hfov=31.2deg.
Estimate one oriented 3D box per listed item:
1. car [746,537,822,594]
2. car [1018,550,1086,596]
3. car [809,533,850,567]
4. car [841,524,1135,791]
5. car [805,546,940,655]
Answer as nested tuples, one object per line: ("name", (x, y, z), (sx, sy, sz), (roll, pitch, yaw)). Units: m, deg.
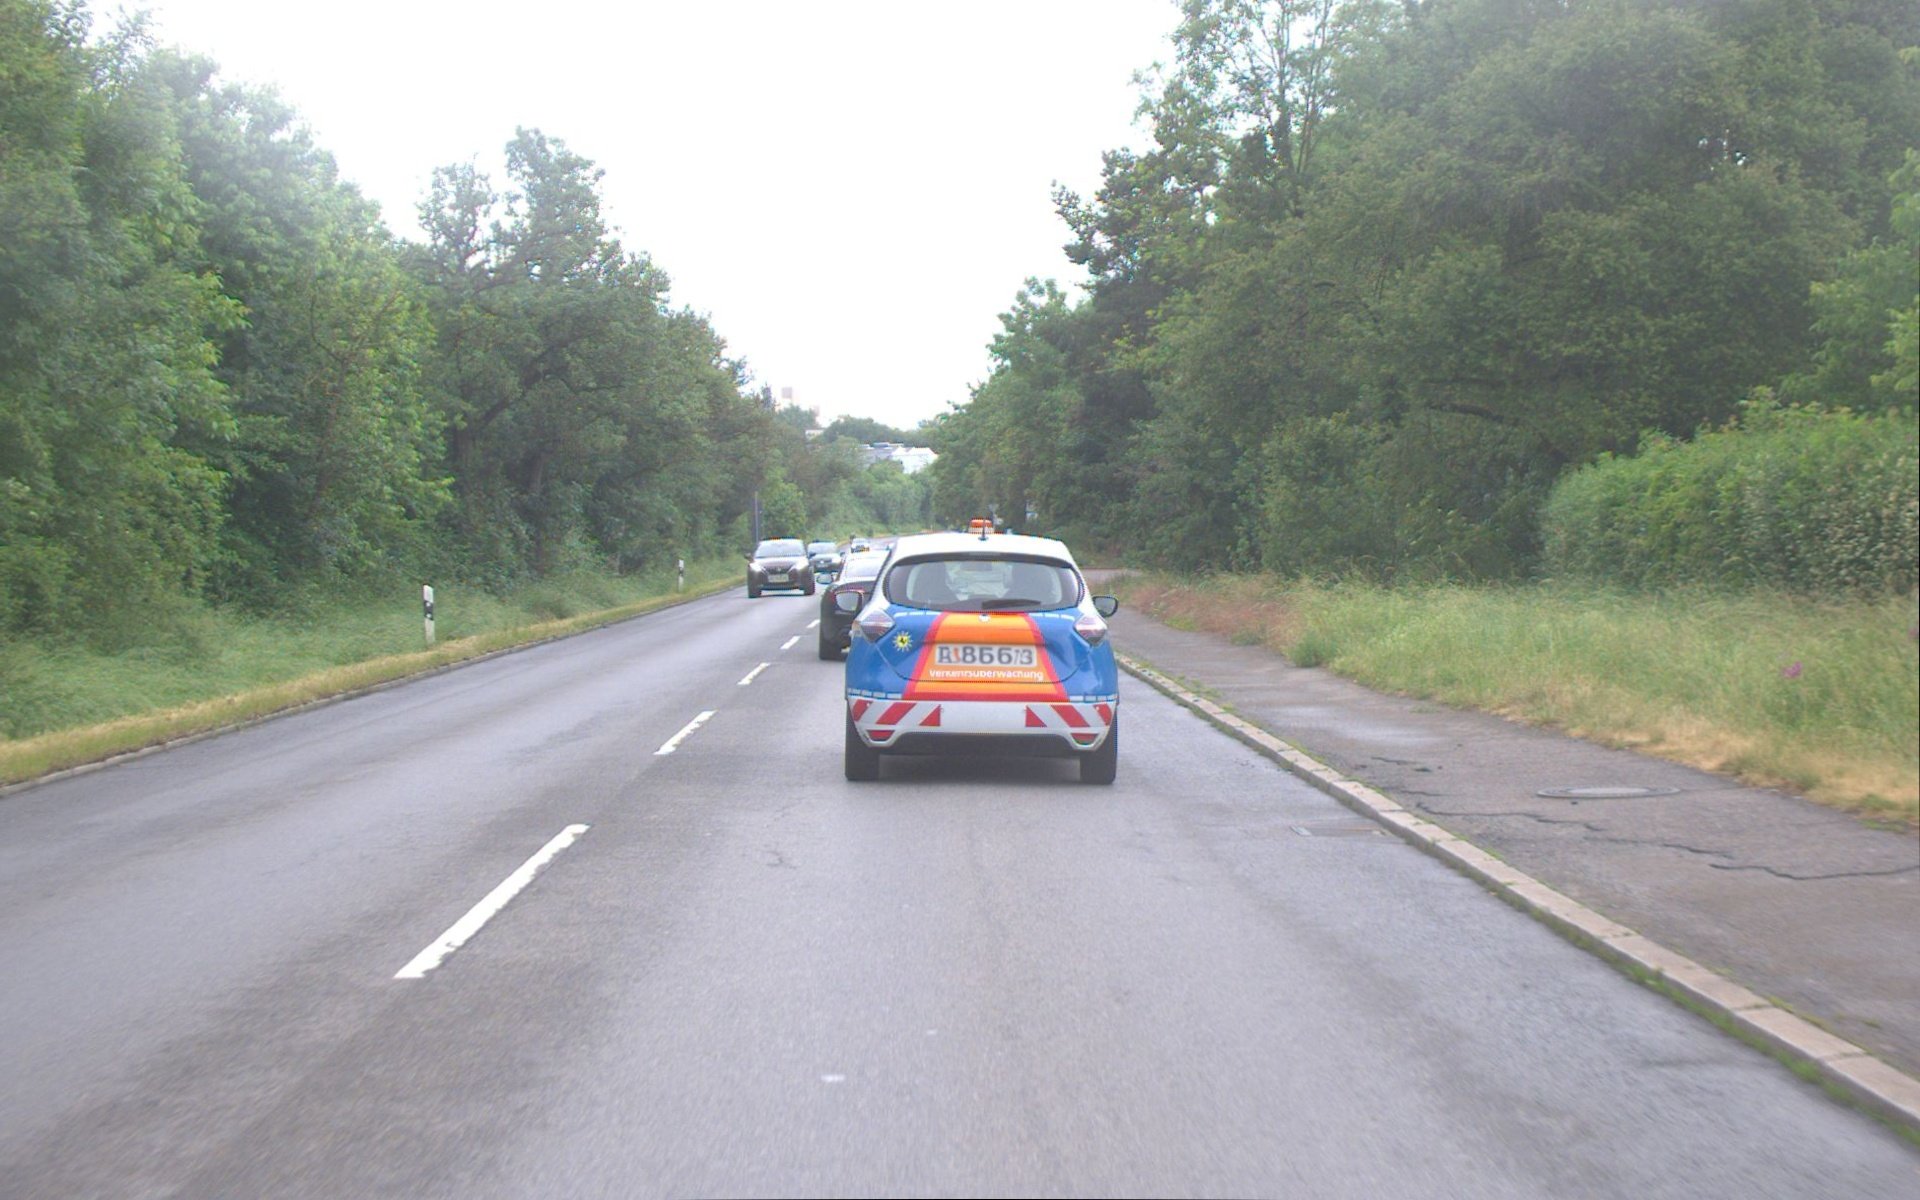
("car", (-5.025, -1.023, 98.835), (1.905, 1.551, 4.516), (-1, 1, 0))
("car", (2.865, -0.864, 107.761), (1.993, 1.371, 4.000), (-1, 1, 0))
("car", (-5.784, -2.217, 152.373), (1.710, 1.394, 4.150), (-3, 1, -1))
("car", (0.136, 0.306, 22.571), (1.752, 1.550, 3.793), (0, 2, -1))
("car", (-1.081, -0.023, 43.696), (1.598, 1.282, 3.476), (-1, 1, 0))
